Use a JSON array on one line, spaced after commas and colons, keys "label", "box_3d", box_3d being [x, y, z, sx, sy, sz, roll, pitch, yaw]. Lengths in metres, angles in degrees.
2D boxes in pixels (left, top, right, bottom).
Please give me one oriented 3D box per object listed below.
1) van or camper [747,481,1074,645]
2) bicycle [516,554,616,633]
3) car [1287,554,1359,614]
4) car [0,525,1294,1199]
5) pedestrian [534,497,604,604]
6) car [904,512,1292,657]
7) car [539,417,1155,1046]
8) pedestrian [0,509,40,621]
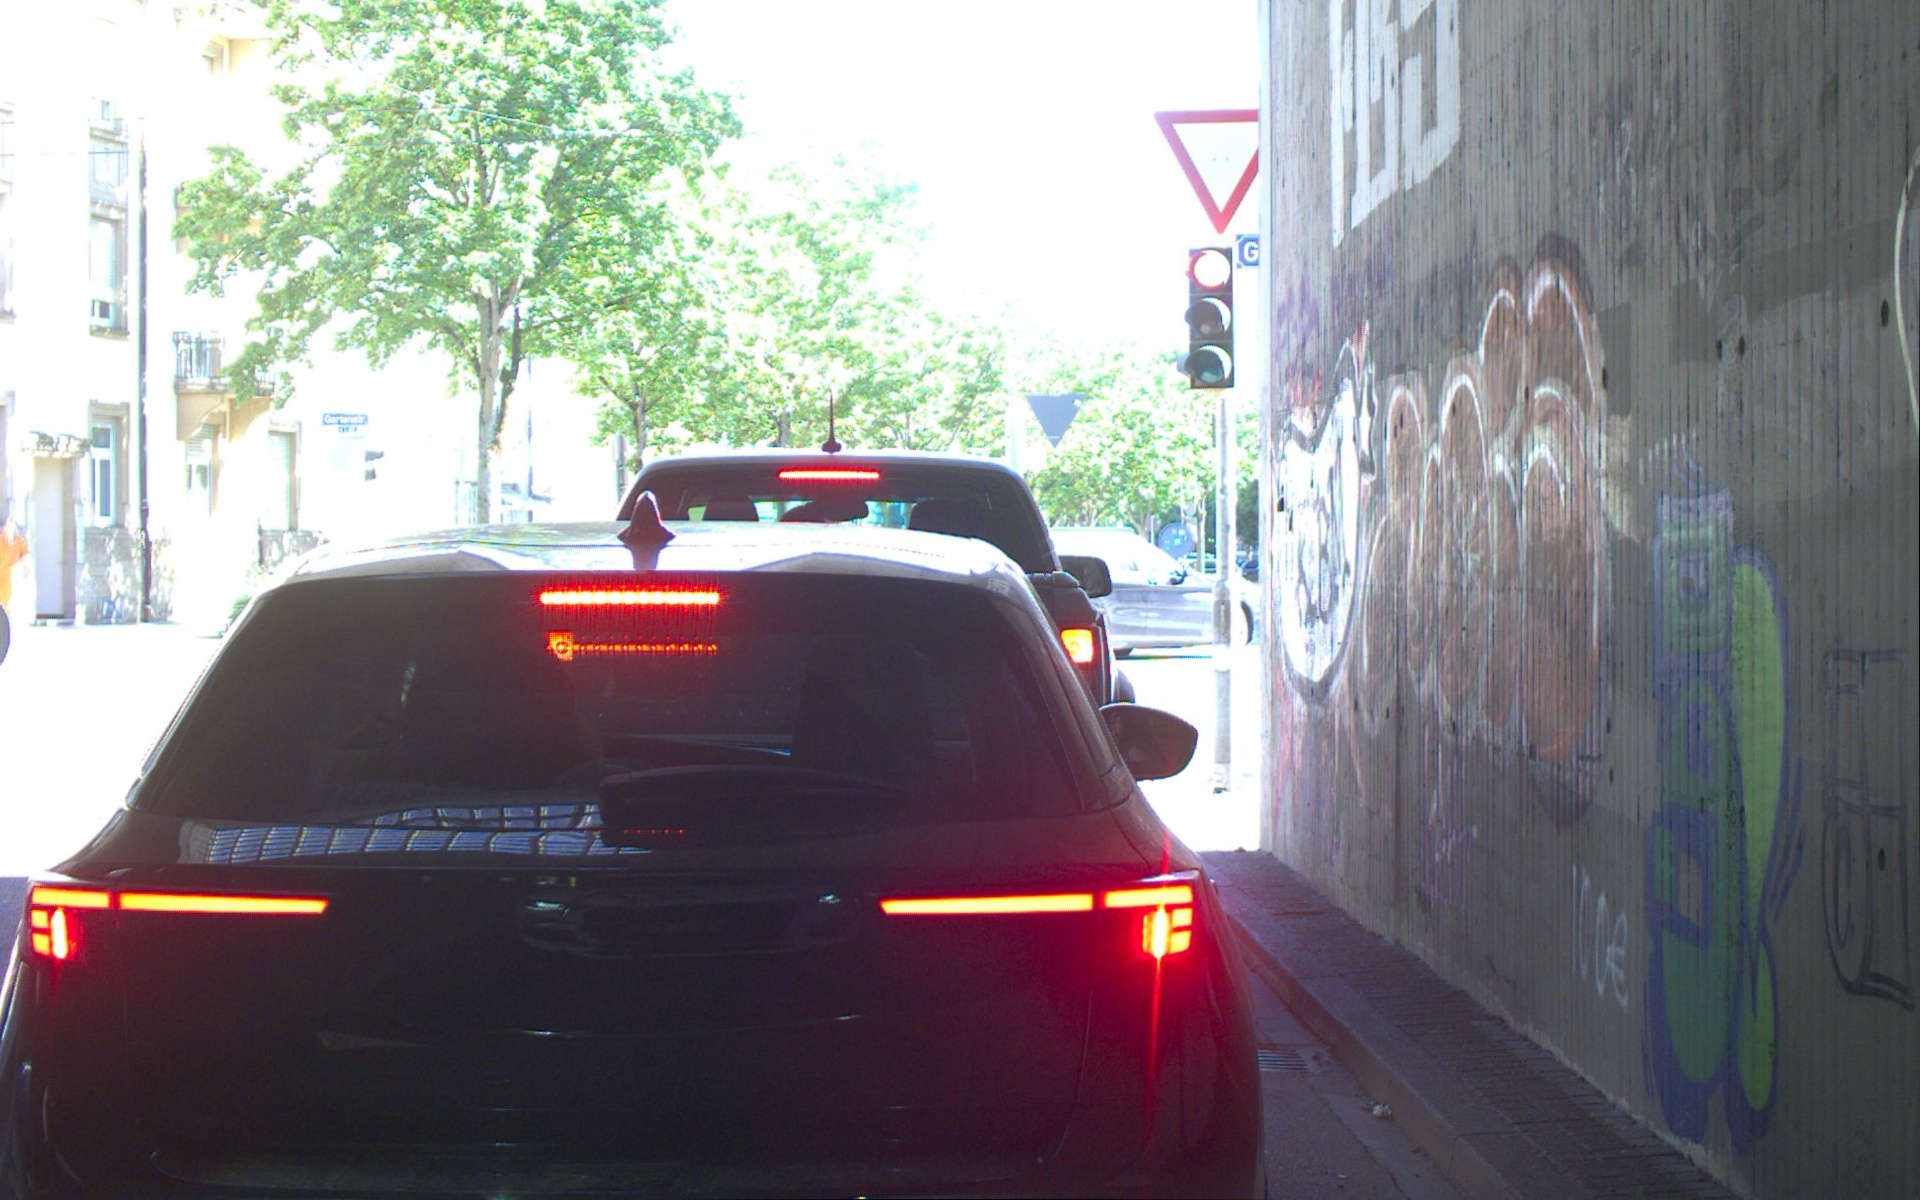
[{"label": "van or camper", "box_3d": [-0.589, -0.471, 43.437, 3.878, 2.007, 2.000, 0, 1, 7]}, {"label": "bicycle", "box_3d": [-5.866, -0.107, 51.323, 0.737, 1.126, 2.025, 0, 1, 17]}, {"label": "car", "box_3d": [10.391, -0.474, 98.377, 1.994, 1.635, 4.592, 0, 1, 6]}, {"label": "car", "box_3d": [-0.491, 0.629, 6.190, 1.753, 1.493, 4.000, 1, 1, 0]}, {"label": "pedestrian", "box_3d": [-5.841, -0.740, 51.398, 0.736, 1.579, 0.889, 1, 0, 15]}, {"label": "car", "box_3d": [1.630, -0.210, 38.822, 1.998, 1.529, 4.724, 1, 1, 38]}, {"label": "car", "box_3d": [-0.348, 0.350, 12.066, 1.786, 1.827, 3.961, 1, 1, 0]}, {"label": "pedestrian", "box_3d": [-14.584, -0.541, 52.717, 0.623, 1.699, 0.723, 1, 0, 14]}]
